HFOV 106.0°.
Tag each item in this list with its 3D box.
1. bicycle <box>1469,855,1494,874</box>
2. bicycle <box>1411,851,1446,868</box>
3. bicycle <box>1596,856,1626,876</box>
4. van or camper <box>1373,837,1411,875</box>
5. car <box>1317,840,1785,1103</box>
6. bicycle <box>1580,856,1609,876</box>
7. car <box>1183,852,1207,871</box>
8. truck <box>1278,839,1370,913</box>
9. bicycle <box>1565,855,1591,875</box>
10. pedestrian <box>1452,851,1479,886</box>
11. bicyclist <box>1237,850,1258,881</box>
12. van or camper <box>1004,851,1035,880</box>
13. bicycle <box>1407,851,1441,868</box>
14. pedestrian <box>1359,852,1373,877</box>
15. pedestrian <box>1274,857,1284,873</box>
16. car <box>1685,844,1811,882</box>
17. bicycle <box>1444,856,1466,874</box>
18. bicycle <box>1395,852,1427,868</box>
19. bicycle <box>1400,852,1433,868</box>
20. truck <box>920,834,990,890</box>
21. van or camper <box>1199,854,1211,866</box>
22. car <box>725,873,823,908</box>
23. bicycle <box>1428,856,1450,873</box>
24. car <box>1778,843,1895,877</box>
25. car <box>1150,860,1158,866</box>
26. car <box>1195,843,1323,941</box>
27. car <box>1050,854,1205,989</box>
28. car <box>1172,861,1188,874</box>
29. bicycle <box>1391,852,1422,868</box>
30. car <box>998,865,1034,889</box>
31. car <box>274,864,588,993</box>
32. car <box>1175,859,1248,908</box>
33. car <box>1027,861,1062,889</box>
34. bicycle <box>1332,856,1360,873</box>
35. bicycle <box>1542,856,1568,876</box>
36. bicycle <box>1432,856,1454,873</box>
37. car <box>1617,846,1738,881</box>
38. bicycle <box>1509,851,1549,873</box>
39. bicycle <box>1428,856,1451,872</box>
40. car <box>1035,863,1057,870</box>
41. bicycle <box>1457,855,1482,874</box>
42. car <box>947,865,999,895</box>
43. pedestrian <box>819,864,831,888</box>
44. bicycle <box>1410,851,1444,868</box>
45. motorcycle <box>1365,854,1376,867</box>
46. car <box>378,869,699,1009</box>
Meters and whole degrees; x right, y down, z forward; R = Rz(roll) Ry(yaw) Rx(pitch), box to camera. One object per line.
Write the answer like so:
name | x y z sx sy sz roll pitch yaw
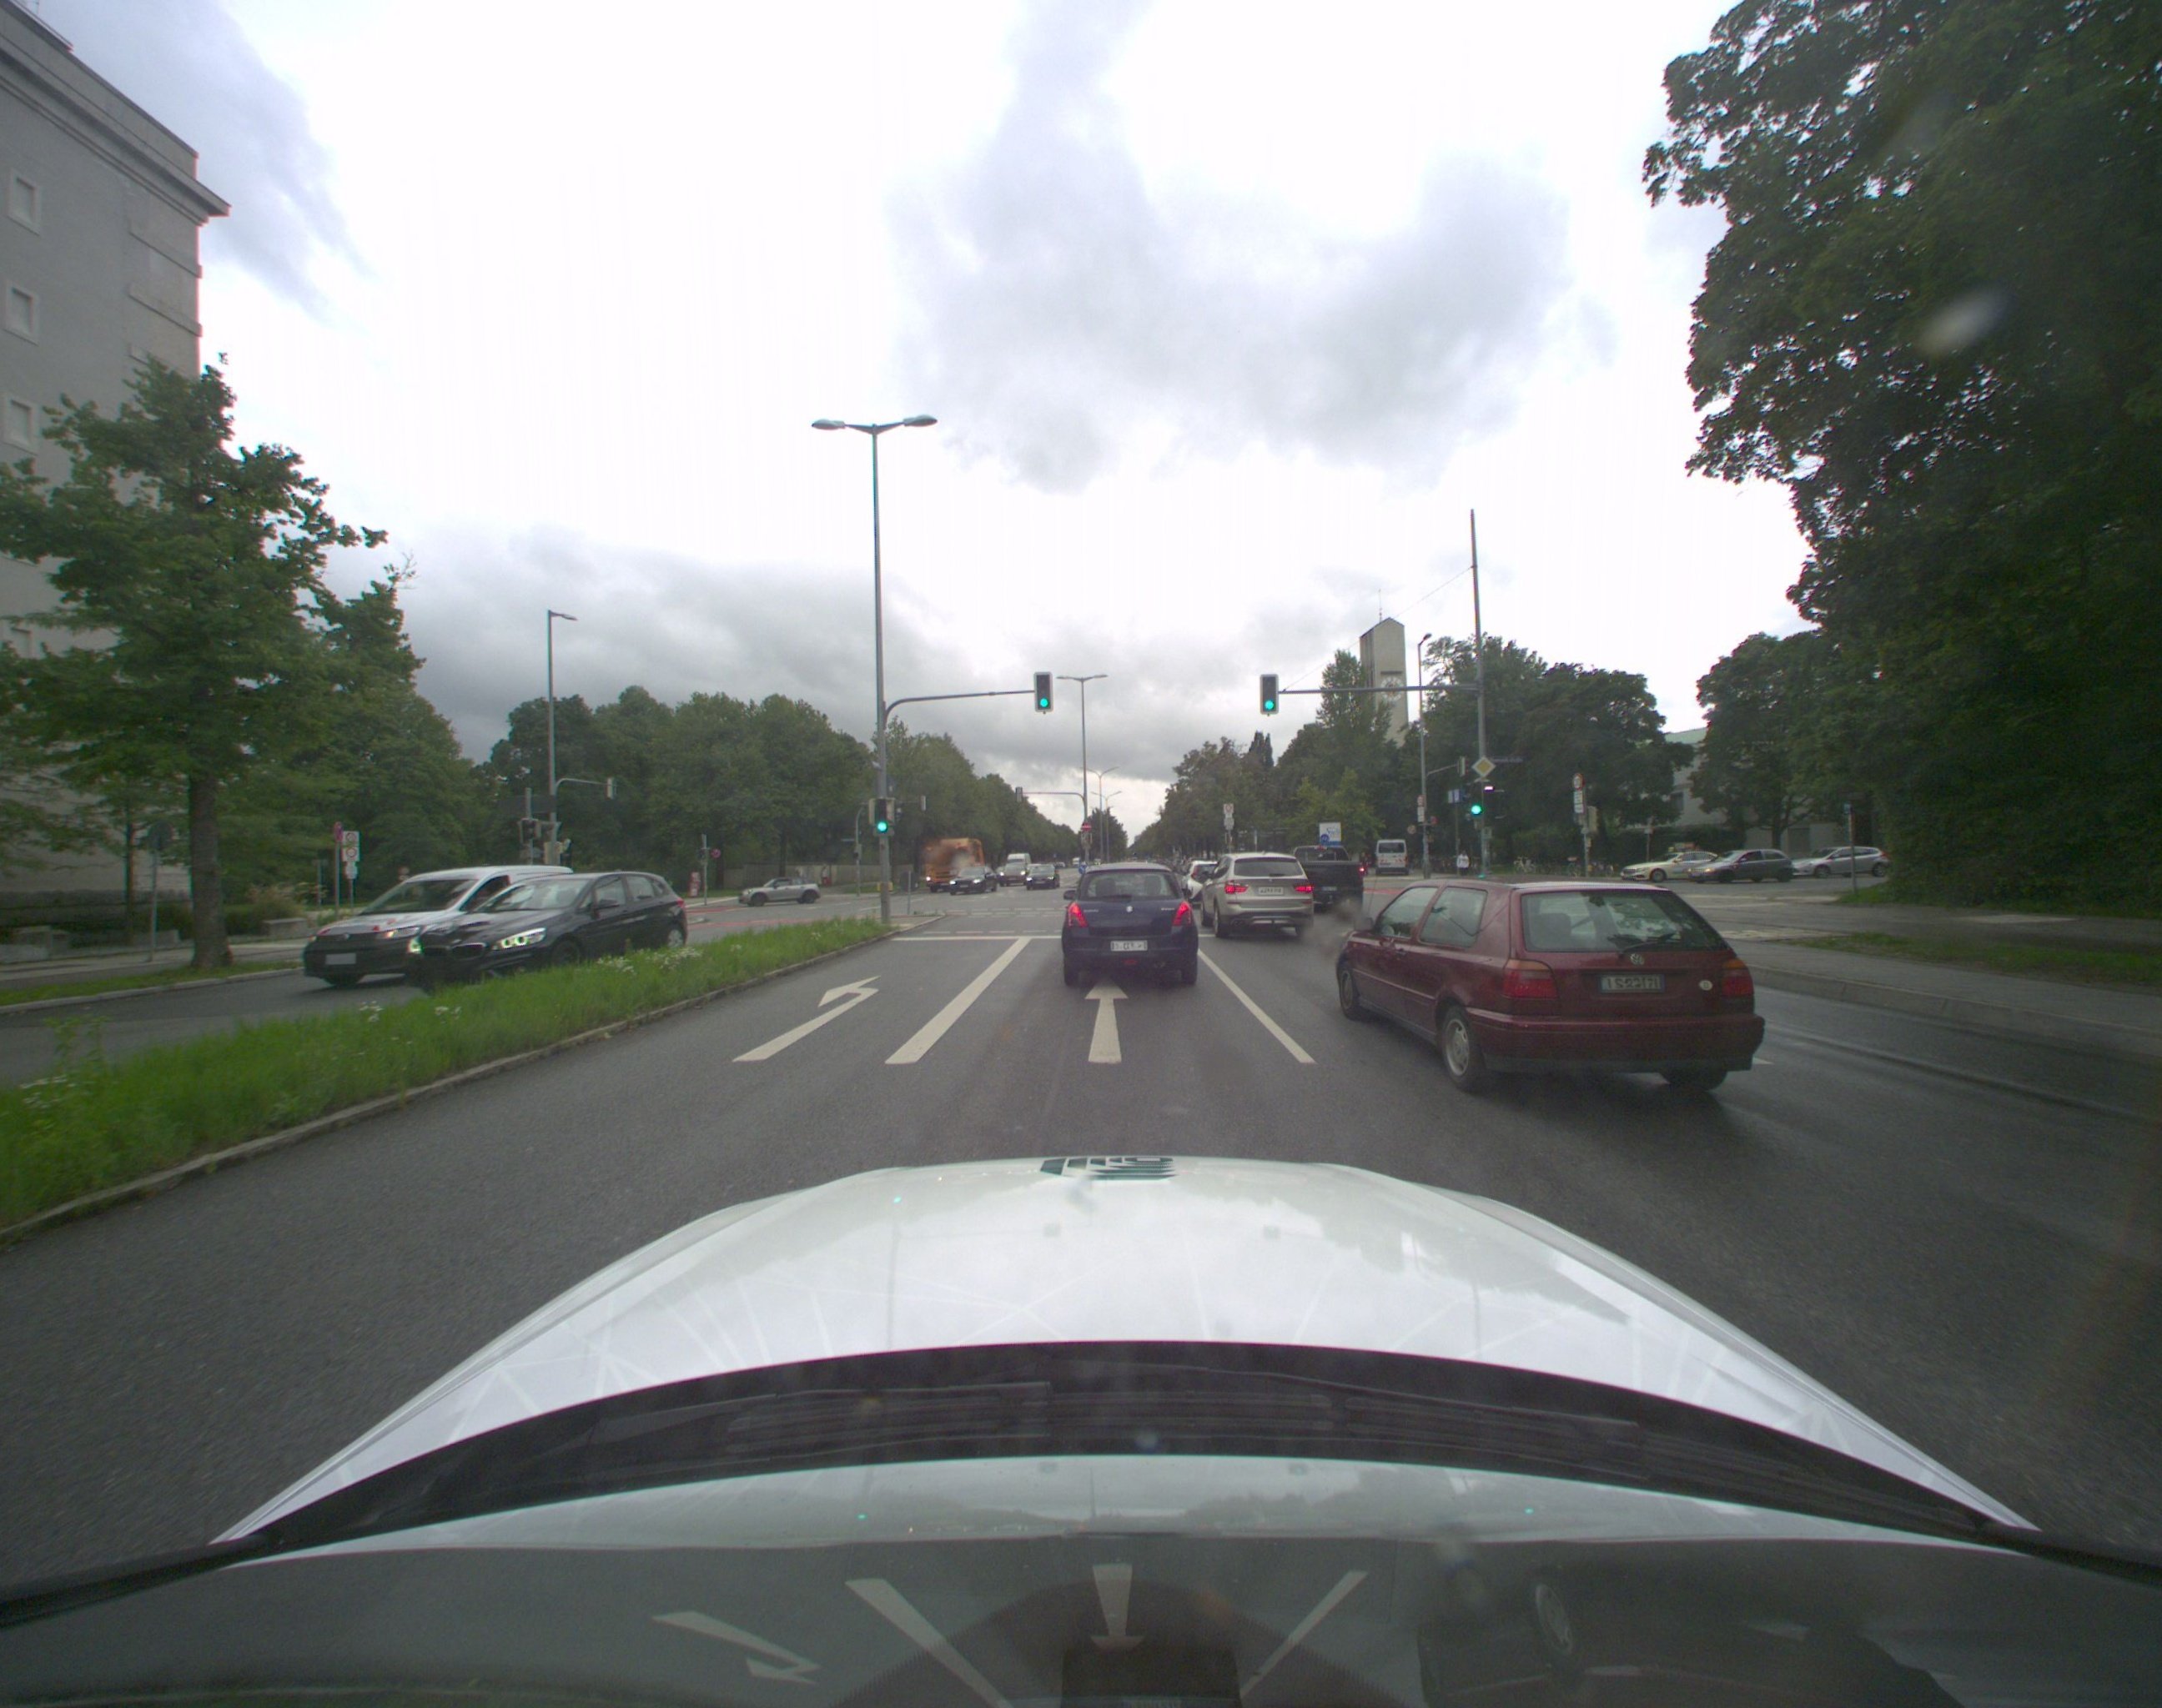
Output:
bicycle | 25.518 0.680 51.873 0.693 1.153 2.132 -2 -1 6
bicycle | 26.547 0.442 62.199 2.329 1.157 0.529 -4 -1 2
bicycle | 29.686 0.665 45.652 0.604 1.095 2.121 -2 -1 11
van or camper | 20.536 0.144 53.836 2.123 2.296 6.231 -2 -1 21
car | 3.223 0.685 6.581 1.615 1.454 3.952 -2 -1 3
bicycle | 29.121 0.672 46.204 0.604 1.095 2.121 -2 -1 11
car | 10.560 0.667 75.718 1.740 1.724 4.910 -1 0 3
truck | 7.482 0.635 25.666 2.086 2.014 5.828 -2 -1 10
bicycle | 28.384 0.640 46.511 0.603 1.095 2.121 -2 -1 12
pedestrian | 18.987 0.700 40.236 0.758 1.703 0.937 -1 -1 -6
bicyclist | 9.696 0.677 47.401 0.831 1.764 0.739 -1 -1 -32
van or camper | -6.210 1.154 82.846 2.169 2.647 6.956 -3 -1 3
bicycle | 26.694 0.450 63.379 2.329 1.157 0.529 -4 -1 2
pedestrian | 17.727 0.630 50.636 0.684 1.538 0.741 -2 -1 22
pedestrian | 18.668 1.050 76.845 0.579 1.513 0.691 -1 -1 -15
car | 28.330 0.379 34.681 3.920 1.454 1.629 -2 -1 3
bicycle | 25.210 0.706 54.899 0.709 1.153 2.142 -2 -1 43
bicycle | 26.940 0.471 66.430 2.329 1.157 0.529 -4 -1 2
bicycle | 26.906 0.463 65.373 2.329 1.157 0.529 -4 -1 2
truck | -8.117 0.539 53.360 2.767 3.356 7.276 -1 -1 5
van or camper | 27.041 1.251 177.487 2.015 2.558 5.962 -2 -1 4
car | -15.896 1.874 42.240 4.385 1.462 1.911 -3 -1 -36
bicycle | 25.115 0.723 57.152 0.709 1.153 2.142 -2 -1 43
car | 35.220 0.262 38.030 3.924 1.454 1.627 -1 -1 0
car | 17.391 2.154 194.076 1.676 1.525 4.460 0 -1 4
car | 3.537 0.714 16.941 1.843 1.743 4.099 -1 -1 2
car | 0.610 0.814 11.613 1.782 1.556 4.001 -1 -1 2
car | 11.858 1.573 97.773 1.710 1.508 4.227 -2 -1 3
bicycle | 27.304 0.482 68.249 2.329 1.157 0.529 -4 -1 2
car | -4.523 1.591 57.687 1.854 1.542 4.753 -2 -1 3
car | -10.795 1.112 14.056 1.773 1.812 4.431 -2 -1 1
car | 4.231 0.922 26.930 1.843 1.447 4.099 -1 -1 2
car | -2.056 1.182 46.946 1.632 1.487 3.784 -2 -1 3
bicycle | 19.514 0.740 60.008 1.796 1.142 0.568 -3 -1 8
bicycle | 27.746 0.694 47.669 0.604 1.095 2.121 -2 -1 11
bicycle | 24.653 0.713 55.468 0.709 1.153 2.142 -2 -1 43
car | 27.810 0.442 38.039 4.287 1.497 1.887 -1 -1 -1
bicycle | 26.713 0.492 48.579 0.704 1.251 2.098 -1 -1 -23
bicycle | 26.731 0.738 60.730 2.140 1.153 0.710 -1 -1 -40
car | -7.001 2.536 164.785 4.014 1.354 1.832 -1 -1 -32
bicycle | 24.734 0.686 51.928 0.712 1.153 2.132 -2 -1 6
car | -5.887 1.382 44.907 1.919 1.462 4.901 -4 -1 2
pedestrian | -19.124 1.629 60.928 0.705 1.740 0.517 -2 -1 -2
bicycle | 26.652 0.446 62.789 2.329 1.157 0.529 -4 -1 2
motorcycle | 26.335 0.561 74.119 0.650 1.177 1.825 -2 -1 28
car | -7.473 1.053 11.845 1.692 1.570 4.292 -2 -1 1
